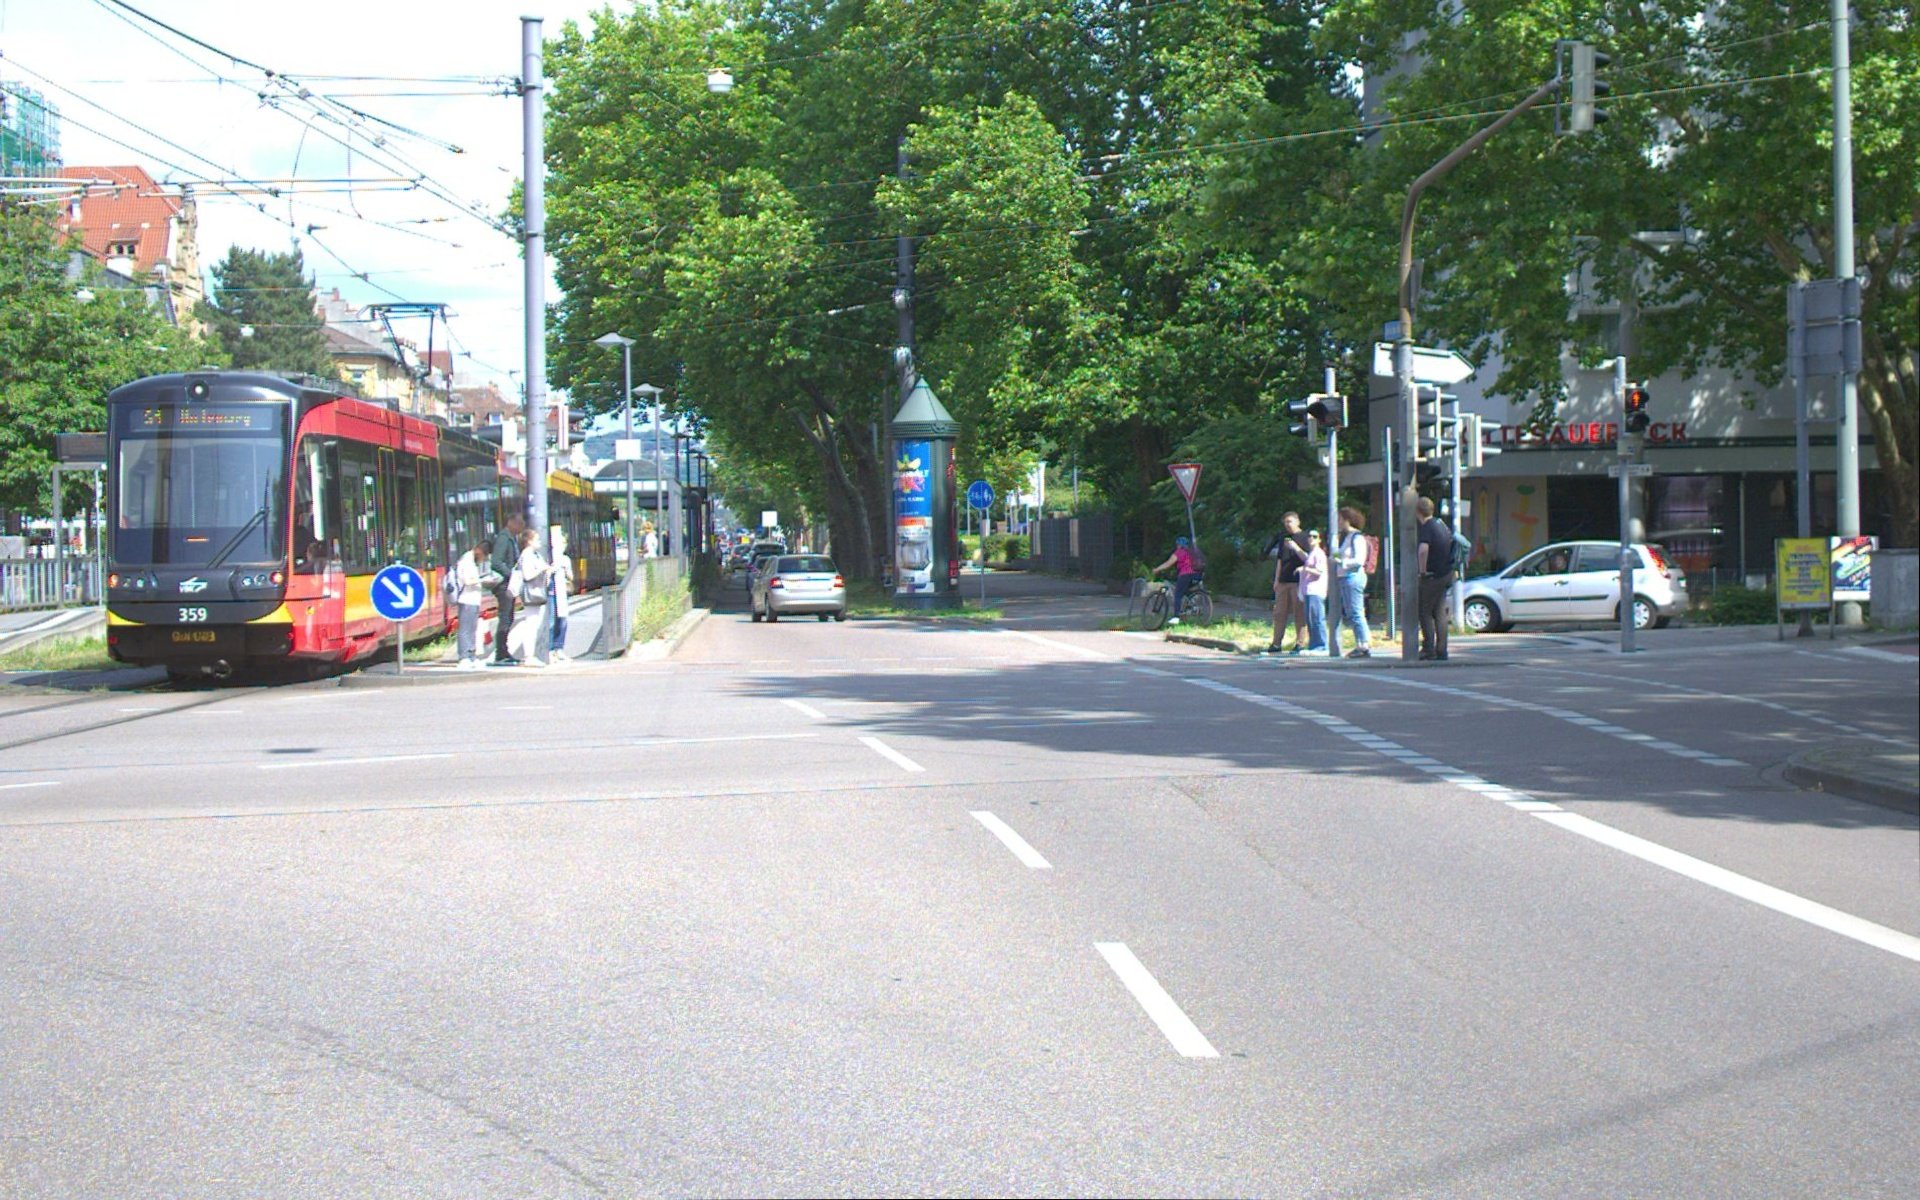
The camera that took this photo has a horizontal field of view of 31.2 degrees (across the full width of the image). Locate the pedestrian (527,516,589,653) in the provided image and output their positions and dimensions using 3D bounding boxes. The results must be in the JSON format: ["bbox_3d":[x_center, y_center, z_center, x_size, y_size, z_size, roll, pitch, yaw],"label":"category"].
[{"bbox_3d":[-5.072,-0.203,43.430,0.669,1.697,0.648,-1,1,-1],"label":"pedestrian"}]

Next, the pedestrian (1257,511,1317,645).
[{"bbox_3d":[4.131,-0.284,43.472,0.510,1.665,0.556,-2,1,-24],"label":"pedestrian"}]

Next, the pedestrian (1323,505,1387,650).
[{"bbox_3d":[4.778,-0.274,41.551,0.527,1.729,0.556,-2,1,-24],"label":"pedestrian"}]

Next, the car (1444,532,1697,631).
[{"bbox_3d":[9.678,-0.298,54.502,3.664,1.479,1.734,-1,1,21],"label":"car"}]

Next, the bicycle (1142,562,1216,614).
[{"bbox_3d":[3.866,-0.222,60.909,0.615,0.877,2.538,-1,1,-12],"label":"bicycle"}]

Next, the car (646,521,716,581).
[{"bbox_3d":[-8.606,-1.534,106.303,1.815,1.798,4.000,-1,1,-1],"label":"car"}]

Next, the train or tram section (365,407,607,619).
[{"bbox_3d":[-8.697,-1.618,64.647,2.806,3.548,12.157,-1,1,0],"label":"train or tram section"}]

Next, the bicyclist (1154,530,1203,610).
[{"bbox_3d":[3.863,-0.533,60.881,0.615,1.380,0.879,-1,1,-12],"label":"bicyclist"}]

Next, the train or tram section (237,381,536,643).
[{"bbox_3d":[-8.590,-1.337,52.996,2.806,3.548,11.183,-1,1,-1],"label":"train or tram section"}]

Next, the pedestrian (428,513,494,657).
[{"bbox_3d":[-6.006,-0.185,41.381,0.669,1.697,0.648,-1,1,-1],"label":"pedestrian"}]

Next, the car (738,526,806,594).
[{"bbox_3d":[-5.673,-1.222,103.416,1.993,2.007,4.001,0,1,-4],"label":"car"}]

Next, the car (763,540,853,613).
[{"bbox_3d":[-3.213,-0.519,73.222,1.748,1.448,3.606,-1,1,-1],"label":"car"}]

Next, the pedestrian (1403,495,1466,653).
[{"bbox_3d":[5.532,-0.304,40.080,0.481,1.819,0.555,0,1,39],"label":"pedestrian"}]

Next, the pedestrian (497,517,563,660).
[{"bbox_3d":[-5.172,-0.142,41.379,0.669,1.697,0.648,-1,1,-1],"label":"pedestrian"}]

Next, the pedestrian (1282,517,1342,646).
[{"bbox_3d":[4.387,-0.234,42.893,0.510,1.592,0.556,-2,1,-24],"label":"pedestrian"}]

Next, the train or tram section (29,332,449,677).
[{"bbox_3d":[-8.393,-1.131,41.702,2.796,3.548,11.378,-1,1,-1],"label":"train or tram section"}]
